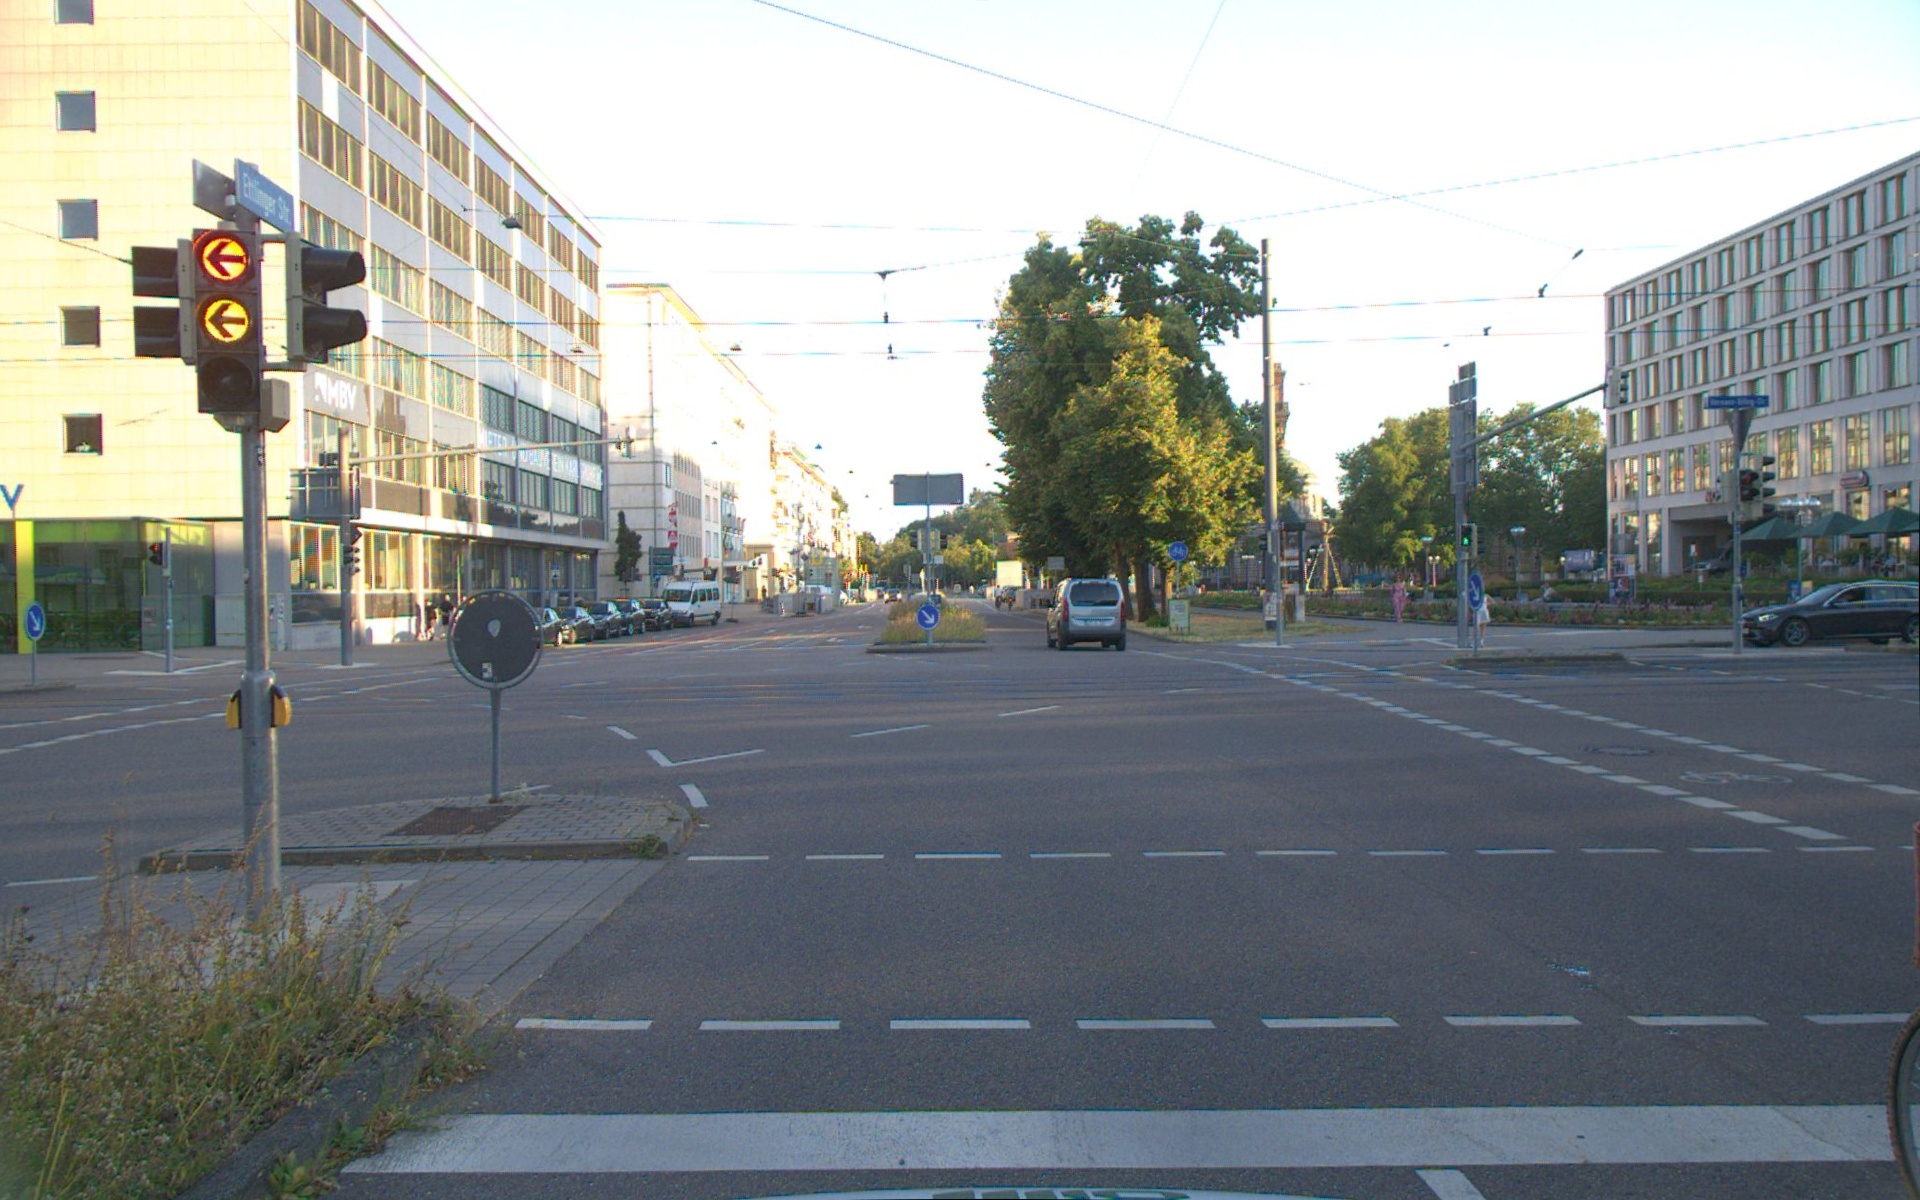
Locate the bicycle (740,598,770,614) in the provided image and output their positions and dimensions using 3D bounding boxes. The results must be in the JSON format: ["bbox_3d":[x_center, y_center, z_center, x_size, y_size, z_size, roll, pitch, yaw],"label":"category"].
[{"bbox_3d":[-15.507,0.449,125.058,2.161,1.131,0.618,-1,0,-3],"label":"bicycle"}]

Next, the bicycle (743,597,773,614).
[{"bbox_3d":[-15.699,0.418,128.635,2.161,1.258,0.839,-1,0,-2],"label":"bicycle"}]

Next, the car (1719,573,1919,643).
[{"bbox_3d":[21.150,0.169,39.932,4.724,1.542,2.000,-1,0,1],"label":"car"}]

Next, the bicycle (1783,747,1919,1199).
[{"bbox_3d":[2.210,0.922,2.813,0.599,1.152,2.004,1,0,-1],"label":"bicycle"}]

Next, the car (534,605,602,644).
[{"bbox_3d":[-16.118,0.979,68.173,1.882,1.489,3.999,-1,0,-1],"label":"car"}]

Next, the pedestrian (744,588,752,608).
[{"bbox_3d":[-21.066,-0.200,164.477,0.666,2.049,0.545,-1,0,-1],"label":"pedestrian"}]

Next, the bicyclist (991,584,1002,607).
[{"bbox_3d":[2.641,-0.316,119.810,0.731,1.692,0.873,-1,0,-1],"label":"bicyclist"}]

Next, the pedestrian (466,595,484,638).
[{"bbox_3d":[-19.427,0.649,66.211,0.540,1.708,0.500,-1,0,-1],"label":"pedestrian"}]

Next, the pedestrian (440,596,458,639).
[{"bbox_3d":[-20.622,0.689,66.791,0.540,1.708,0.500,-1,0,-1],"label":"pedestrian"}]

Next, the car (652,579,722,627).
[{"bbox_3d":[-14.943,0.131,90.998,1.958,2.521,5.873,-1,0,9],"label":"car"}]

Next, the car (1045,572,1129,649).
[{"bbox_3d":[3.369,0.263,44.621,1.727,1.921,4.498,-1,0,-2],"label":"car"}]

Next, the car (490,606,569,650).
[{"bbox_3d":[-16.009,1.020,61.644,1.882,1.489,4.102,-1,0,-1],"label":"car"}]

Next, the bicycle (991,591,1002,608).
[{"bbox_3d":[2.645,-0.037,120.206,0.731,1.164,2.505,-1,0,-1],"label":"bicycle"}]

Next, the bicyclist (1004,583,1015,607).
[{"bbox_3d":[3.622,-0.391,120.196,0.731,1.720,0.799,-1,0,-1],"label":"bicyclist"}]

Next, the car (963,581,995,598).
[{"bbox_3d":[2.480,-1.353,212.976,3.909,2.049,1.998,-1,0,-5],"label":"car"}]

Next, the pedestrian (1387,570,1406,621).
[{"bbox_3d":[14.587,-0.139,55.266,0.451,1.685,0.566,-1,0,-1],"label":"pedestrian"}]

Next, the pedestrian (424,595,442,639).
[{"bbox_3d":[-21.031,0.678,66.019,0.540,1.708,0.500,-1,0,-1],"label":"pedestrian"}]

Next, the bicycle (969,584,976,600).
[{"bbox_3d":[1.592,-1.000,211.465,0.877,2.049,3.999,-1,0,-1],"label":"bicycle"}]

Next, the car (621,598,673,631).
[{"bbox_3d":[-15.961,0.719,84.523,1.882,1.595,3.999,-1,0,-1],"label":"car"}]

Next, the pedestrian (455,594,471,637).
[{"bbox_3d":[-20.045,0.638,66.699,0.490,1.708,0.500,-1,0,-1],"label":"pedestrian"}]

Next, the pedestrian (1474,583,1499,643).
[{"bbox_3d":[13.825,0.343,43.415,0.480,1.566,0.408,-1,0,-1],"label":"pedestrian"}]

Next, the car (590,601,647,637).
[{"bbox_3d":[-16.135,0.868,78.291,1.882,1.595,3.999,-1,0,-1],"label":"car"}]

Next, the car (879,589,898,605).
[{"bbox_3d":[-7.203,-0.301,166.839,1.825,1.546,3.999,-1,0,-1],"label":"car"}]

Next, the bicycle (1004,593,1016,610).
[{"bbox_3d":[3.637,0.120,120.183,0.731,1.164,2.505,-1,0,-1],"label":"bicycle"}]

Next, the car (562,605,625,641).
[{"bbox_3d":[-16.139,0.999,72.988,1.882,1.489,3.999,-1,0,-1],"label":"car"}]

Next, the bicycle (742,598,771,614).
[{"bbox_3d":[-15.576,0.467,126.656,2.161,1.131,0.689,-1,0,-2],"label":"bicycle"}]
